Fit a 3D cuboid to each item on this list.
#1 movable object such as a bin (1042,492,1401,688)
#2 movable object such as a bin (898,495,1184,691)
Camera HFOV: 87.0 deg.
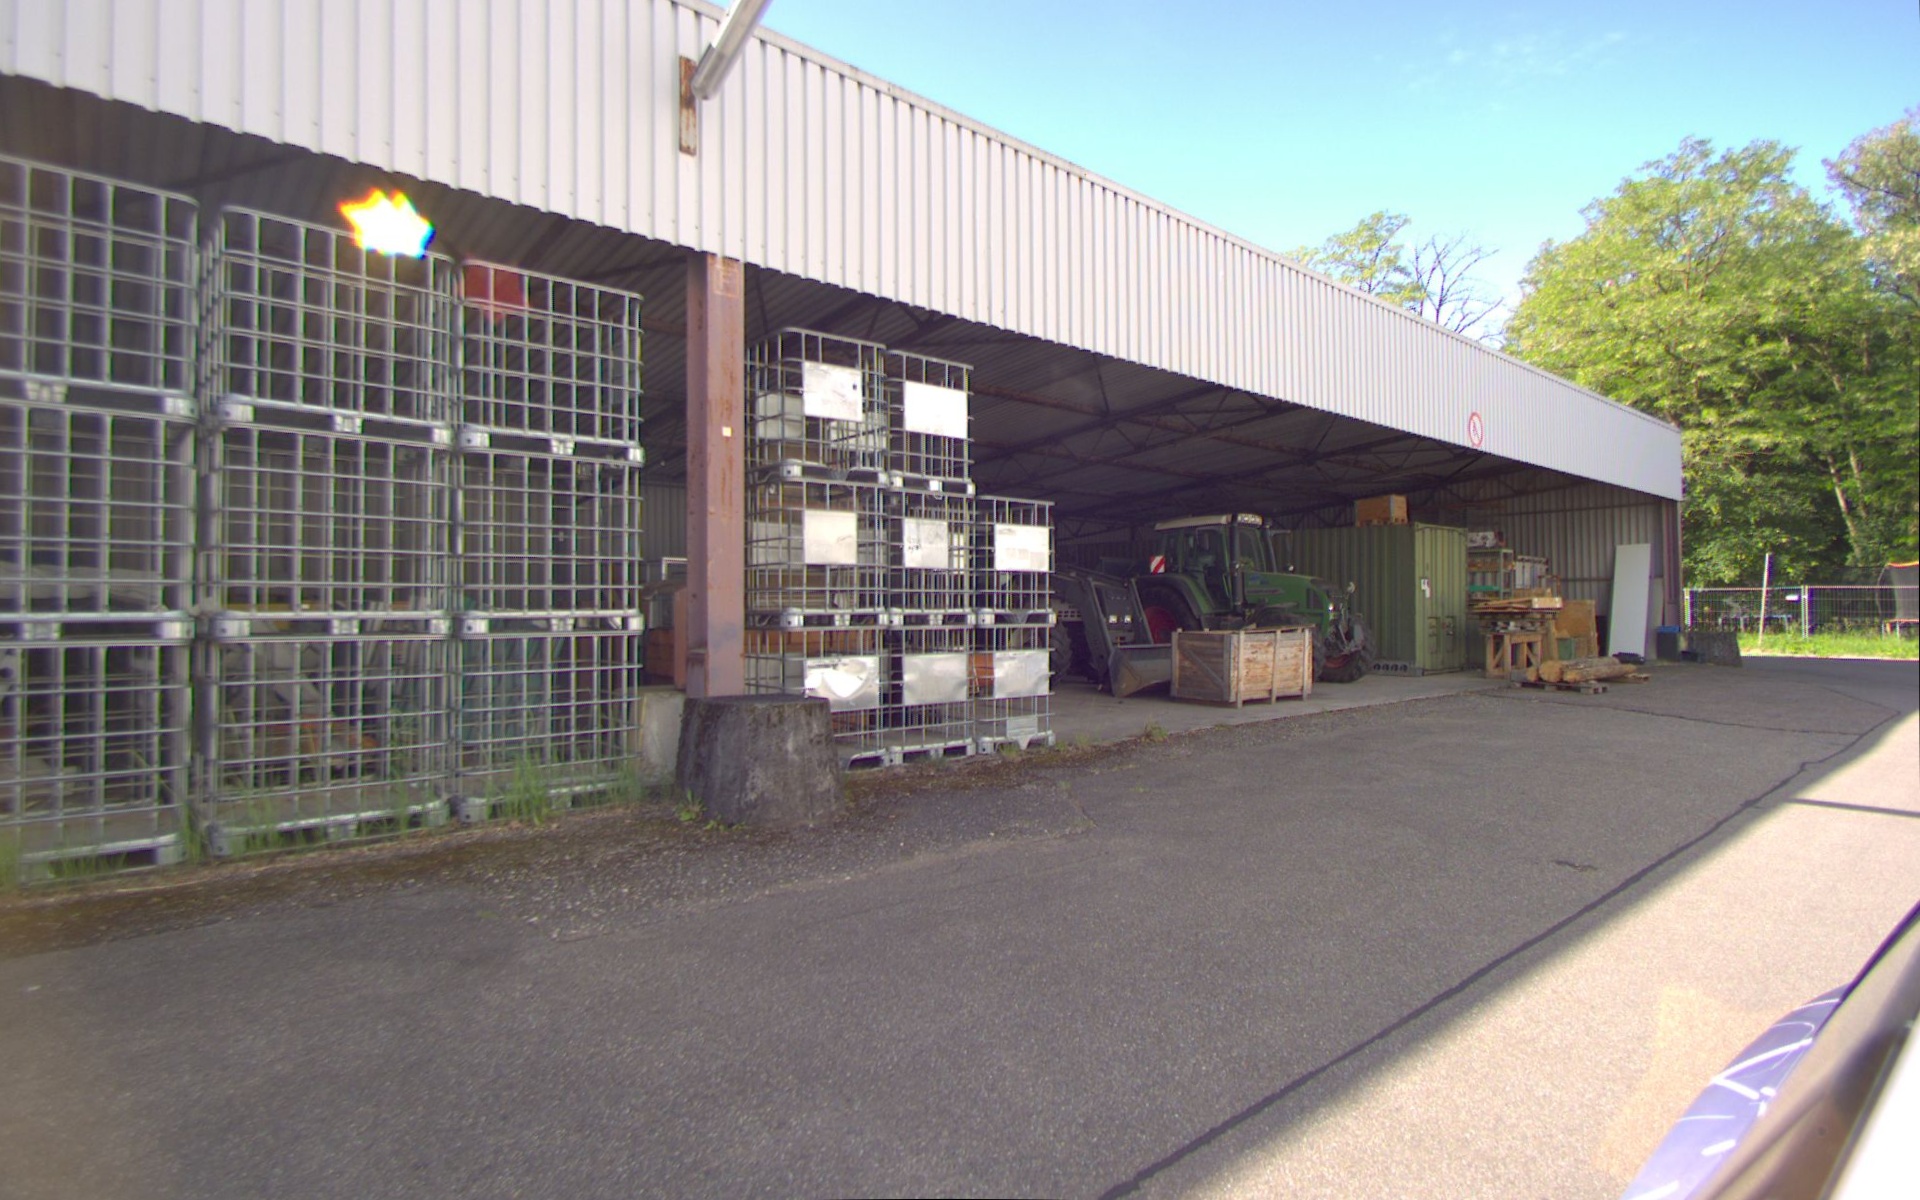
[{"bbox_3d":[4.533,-0.142,18.484,2.770,2.962,5.844,0,-1,-40],"label":"movable object such as a bin"},{"bbox_3d":[1.254,-0.088,17.371,2.453,2.867,4.534,1,-1,-40],"label":"movable object such as a bin"}]
